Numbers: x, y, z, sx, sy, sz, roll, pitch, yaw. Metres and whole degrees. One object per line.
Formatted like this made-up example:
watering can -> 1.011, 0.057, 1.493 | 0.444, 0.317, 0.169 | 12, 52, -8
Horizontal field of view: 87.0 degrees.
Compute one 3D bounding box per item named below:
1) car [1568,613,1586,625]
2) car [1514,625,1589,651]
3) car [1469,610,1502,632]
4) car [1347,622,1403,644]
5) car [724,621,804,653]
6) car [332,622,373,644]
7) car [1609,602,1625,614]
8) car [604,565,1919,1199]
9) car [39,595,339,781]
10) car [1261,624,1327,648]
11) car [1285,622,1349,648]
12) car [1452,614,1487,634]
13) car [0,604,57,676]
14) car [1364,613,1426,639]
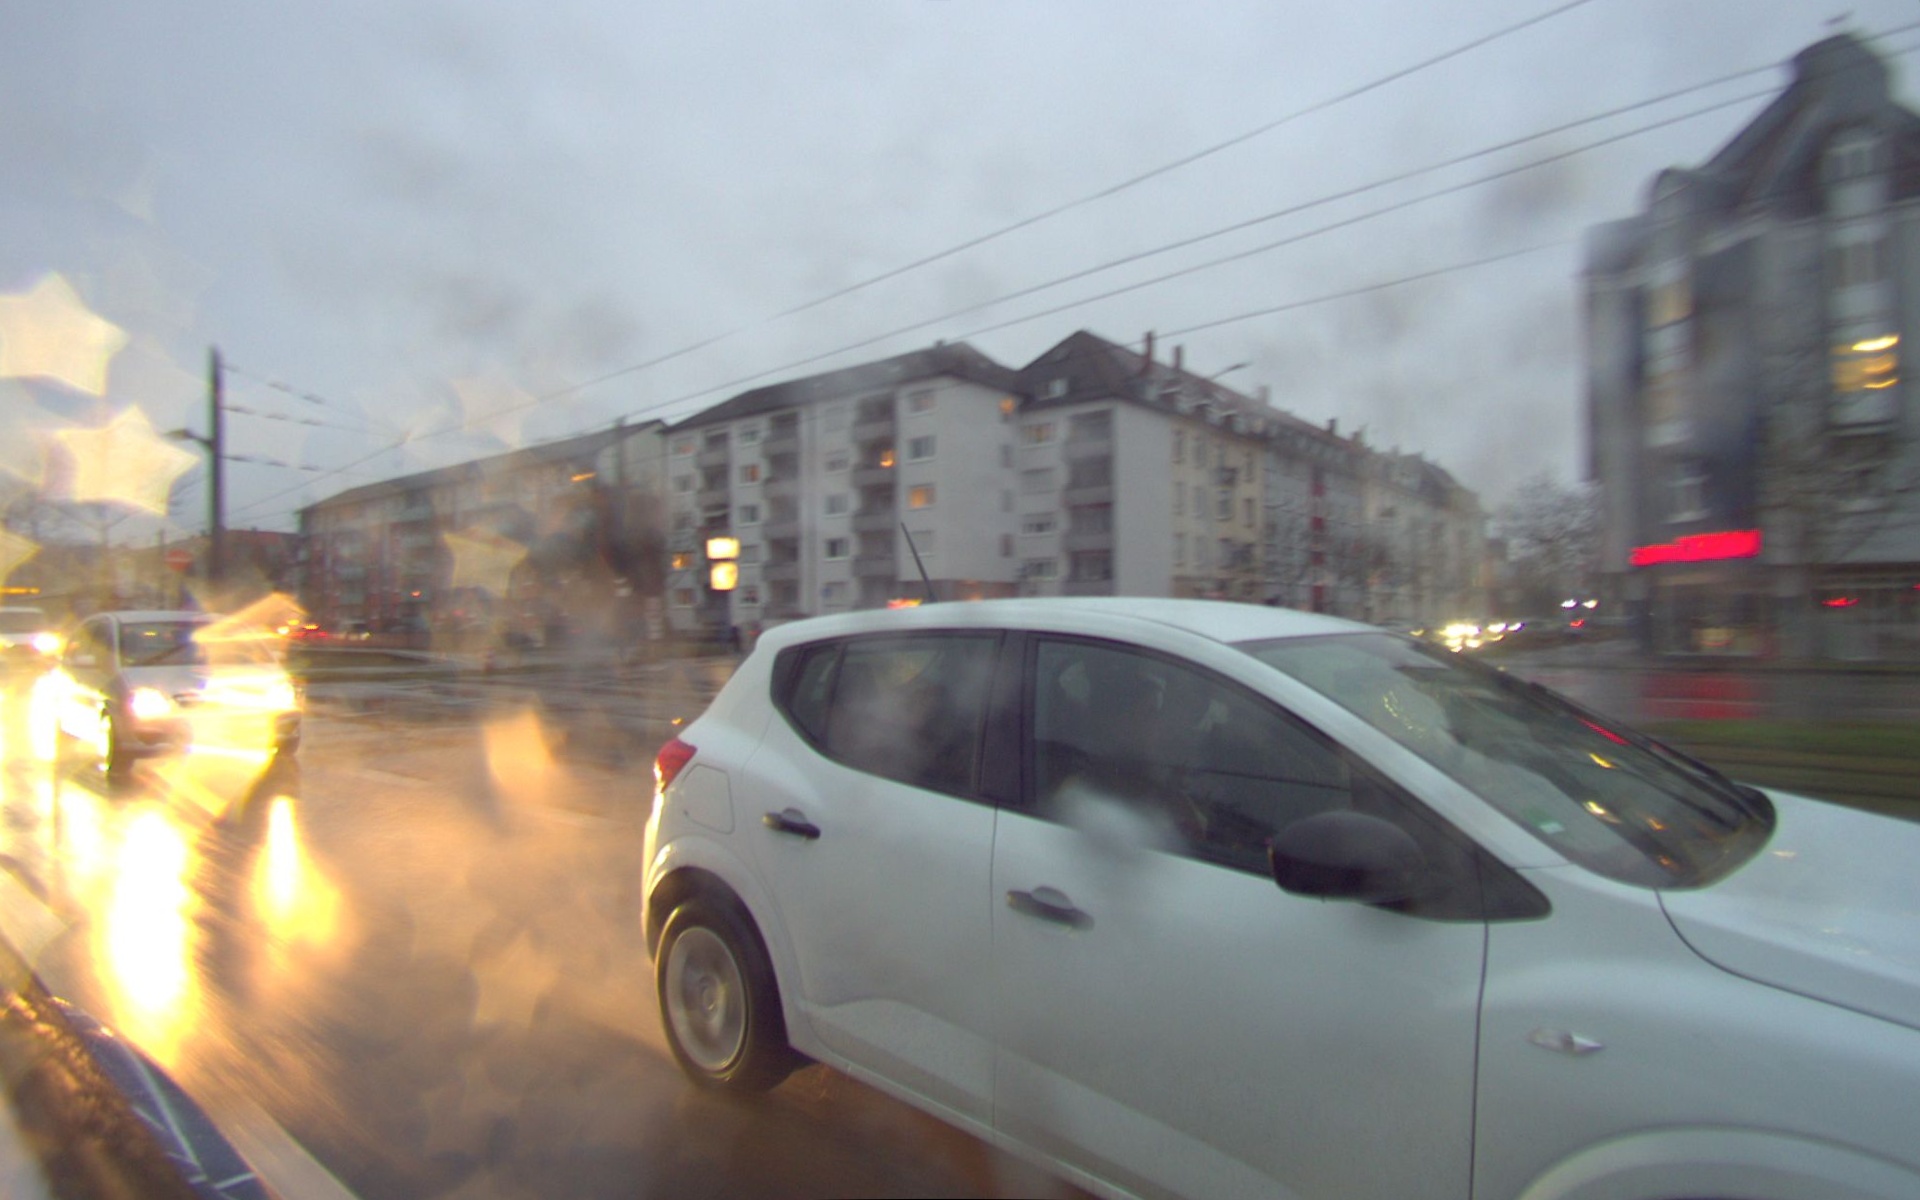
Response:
car -> 64.327, 2.012, 105.565 | 1.168, 1.154, 2.435 | 0, 1, 42
car -> 34.419, 2.206, 58.938 | 3.612, 1.352, 1.581 | 0, 1, 39
car -> 49.734, 1.968, 95.765 | 1.999, 1.844, 3.811 | 0, 1, 41
car -> 29.910, 2.332, 72.958 | 3.511, 1.456, 1.426 | 0, 1, 39
car -> -9.598, 1.800, 49.838 | 1.694, 1.377, 3.766 | 0, 1, 34
car -> -49.825, 2.685, 82.961 | 4.149, 1.658, 1.707 | 0, 1, 42
car -> 92.151, 1.165, 142.029 | 1.756, 1.612, 3.864 | 0, 1, 35
car -> 0.860, 0.683, 2.641 | 4.000, 1.477, 1.690 | 0, 1, 43
car -> -8.786, 0.806, 11.414 | 3.999, 1.689, 1.994 | 0, 1, 42
car -> 20.020, 2.145, 60.697 | 3.450, 1.308, 1.569 | 0, 1, 39
car -> 23.387, 2.259, 66.372 | 3.612, 1.533, 1.659 | 0, 1, 39
car -> 38.439, 1.817, 76.326 | 1.489, 1.371, 3.390 | 0, 1, 42
car -> -29.414, 1.202, 30.972 | 4.878, 2.049, 1.933 | -1, -1, 40
car -> 32.074, 1.882, 74.666 | 3.996, 1.813, 1.555 | 0, 1, 39
